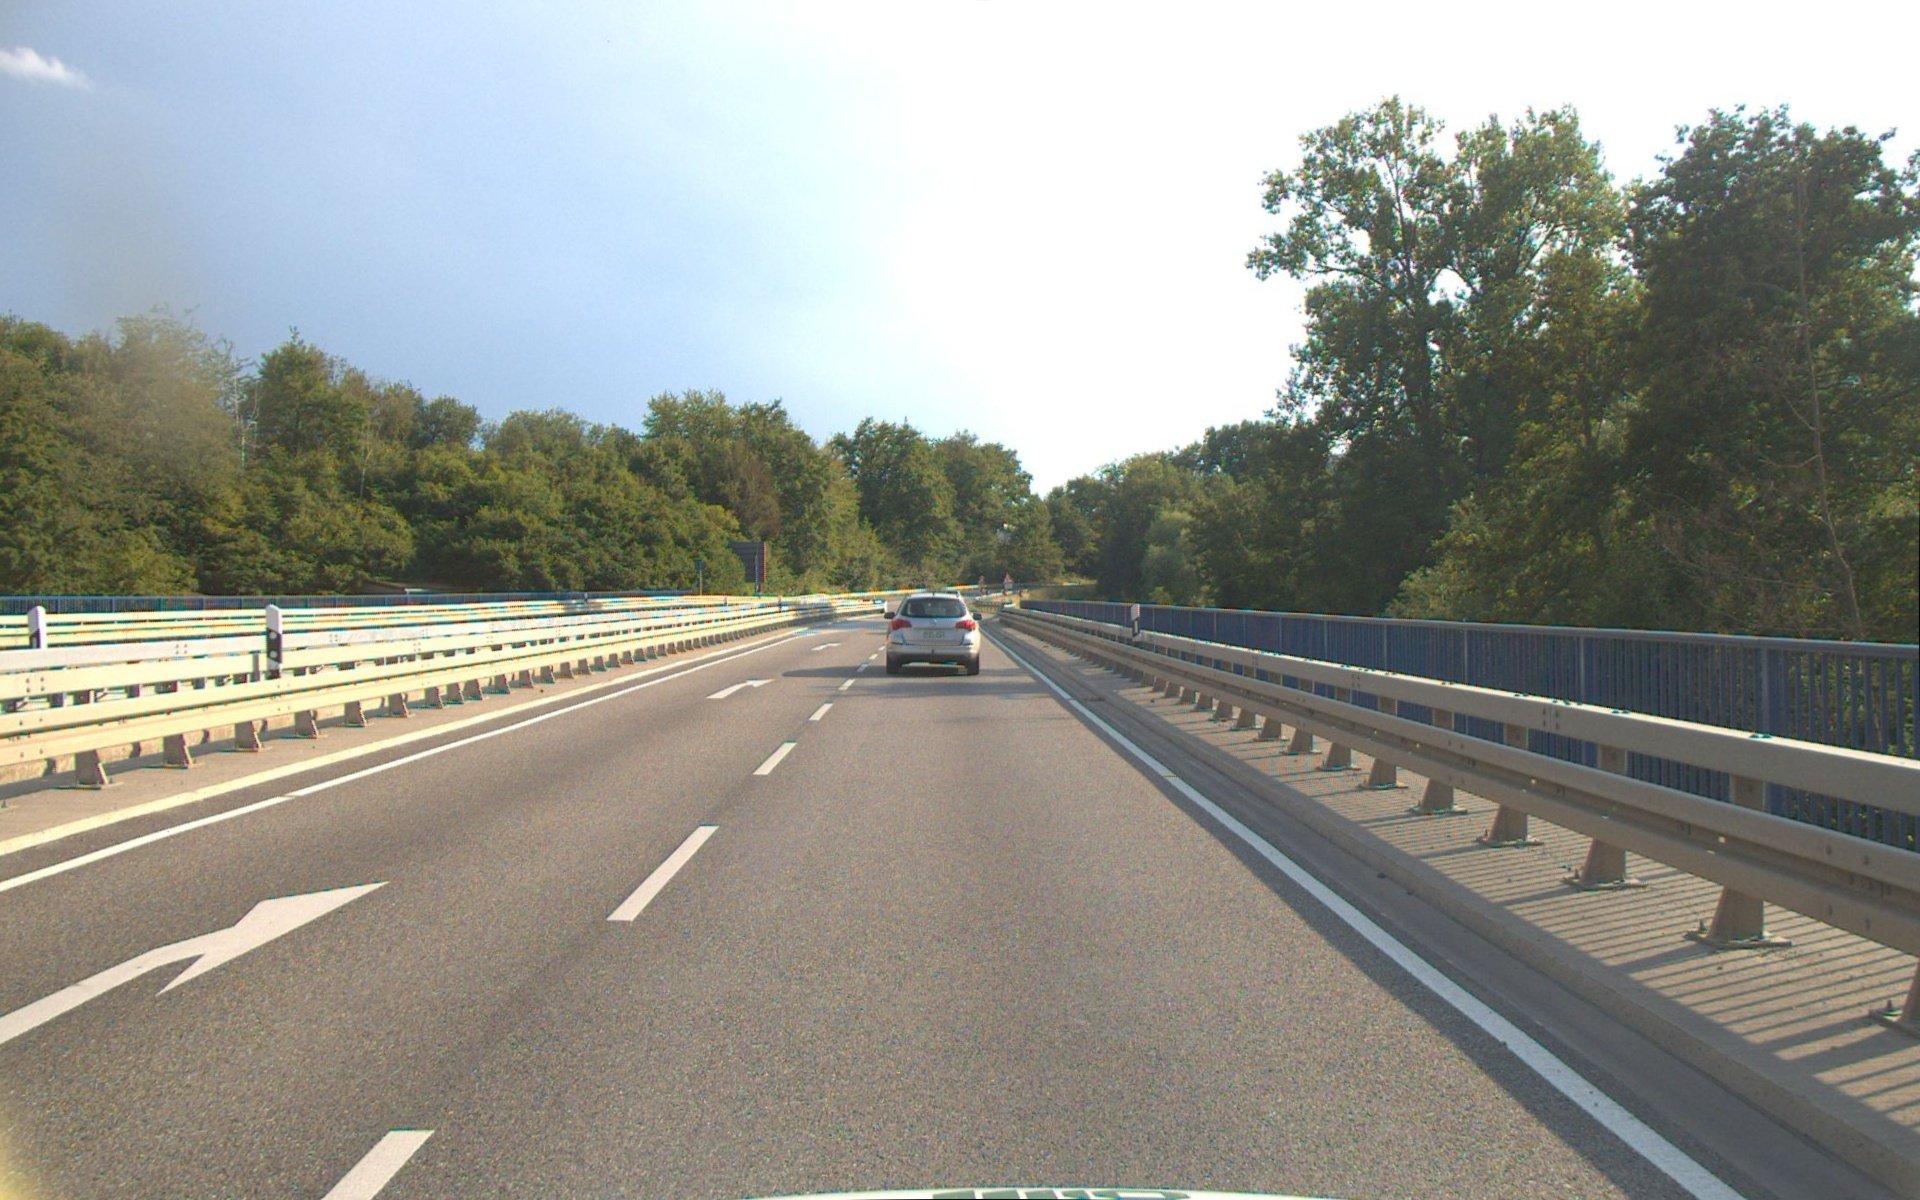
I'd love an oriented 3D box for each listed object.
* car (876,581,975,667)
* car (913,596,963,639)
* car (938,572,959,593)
[{"bbox_3d":[-0.672,0.452,31.936,1.772,1.512,3.999,1,0,-2],"label":"car"},{"bbox_3d":[-0.857,0.646,61.751,1.772,1.512,3.999,1,0,-2],"label":"car"},{"bbox_3d":[-1.210,-1.800,169.617,1.953,2.049,3.998,1,0,-2],"label":"car"}]
